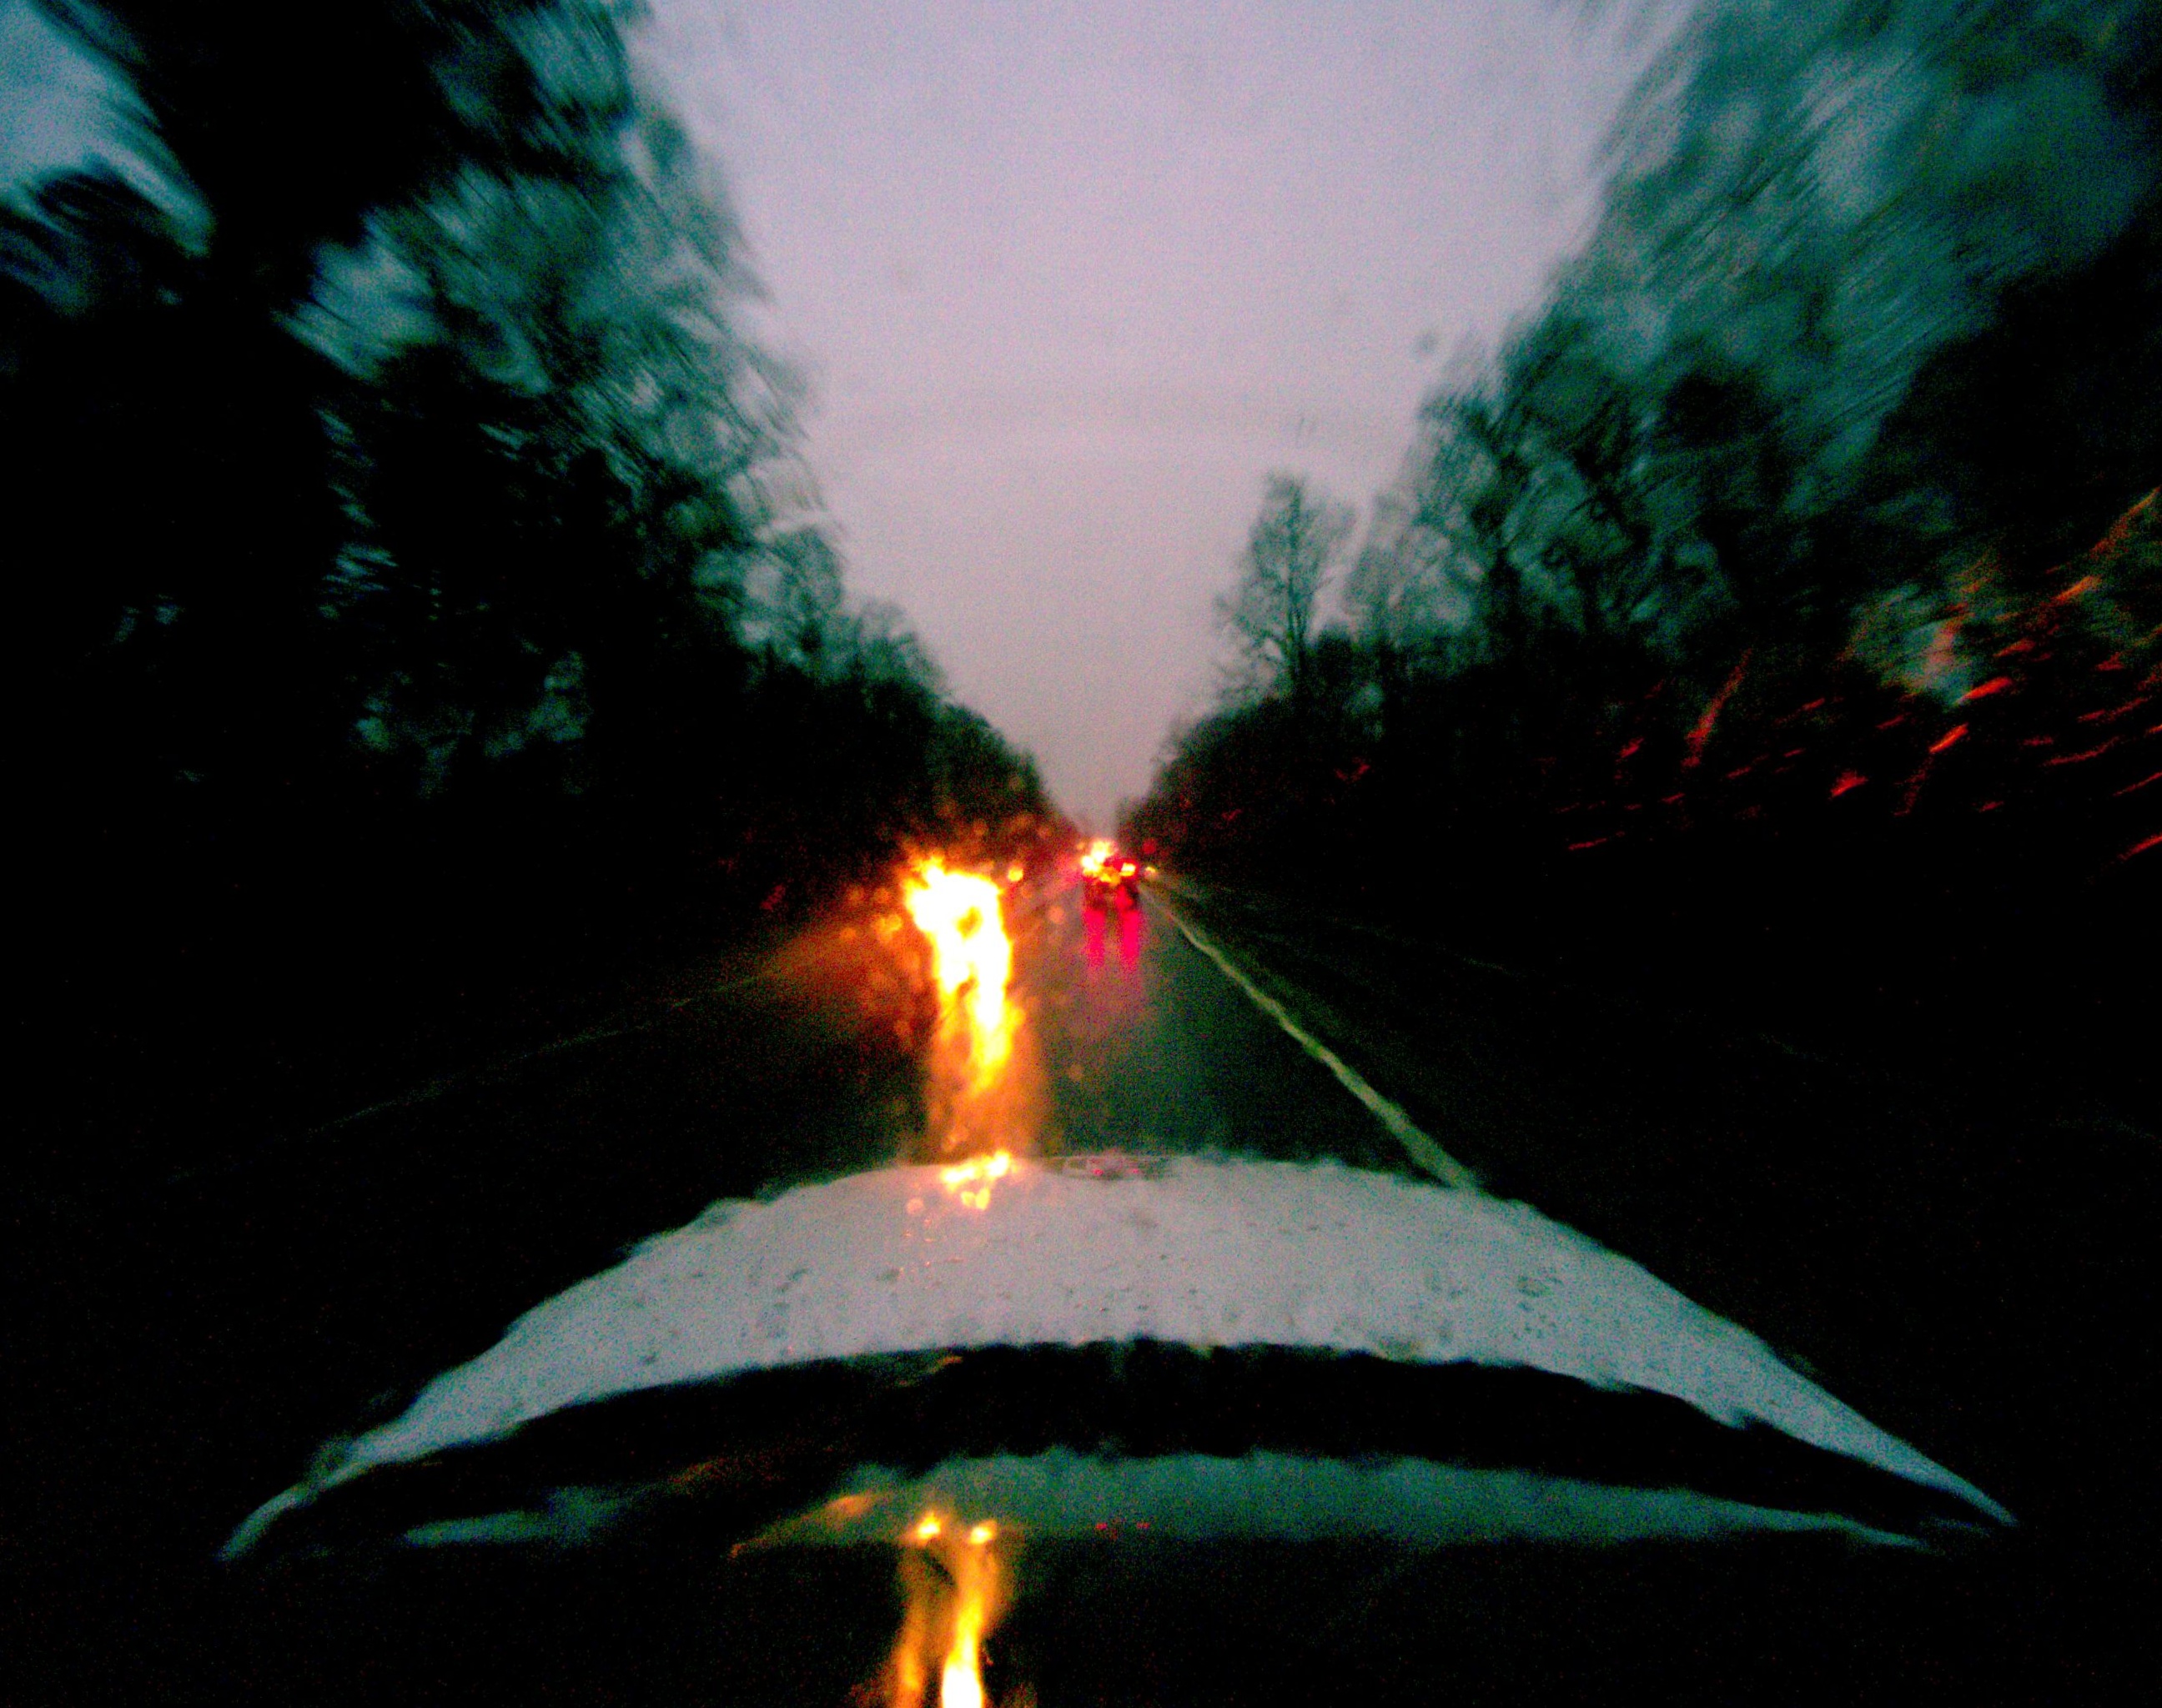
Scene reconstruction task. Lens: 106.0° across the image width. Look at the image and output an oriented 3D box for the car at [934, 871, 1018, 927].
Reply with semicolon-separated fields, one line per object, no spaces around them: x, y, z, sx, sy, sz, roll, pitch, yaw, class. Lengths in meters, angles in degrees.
-2.910;1.208;23.405;1.697;1.363;4.376;-2;-1;1;car
